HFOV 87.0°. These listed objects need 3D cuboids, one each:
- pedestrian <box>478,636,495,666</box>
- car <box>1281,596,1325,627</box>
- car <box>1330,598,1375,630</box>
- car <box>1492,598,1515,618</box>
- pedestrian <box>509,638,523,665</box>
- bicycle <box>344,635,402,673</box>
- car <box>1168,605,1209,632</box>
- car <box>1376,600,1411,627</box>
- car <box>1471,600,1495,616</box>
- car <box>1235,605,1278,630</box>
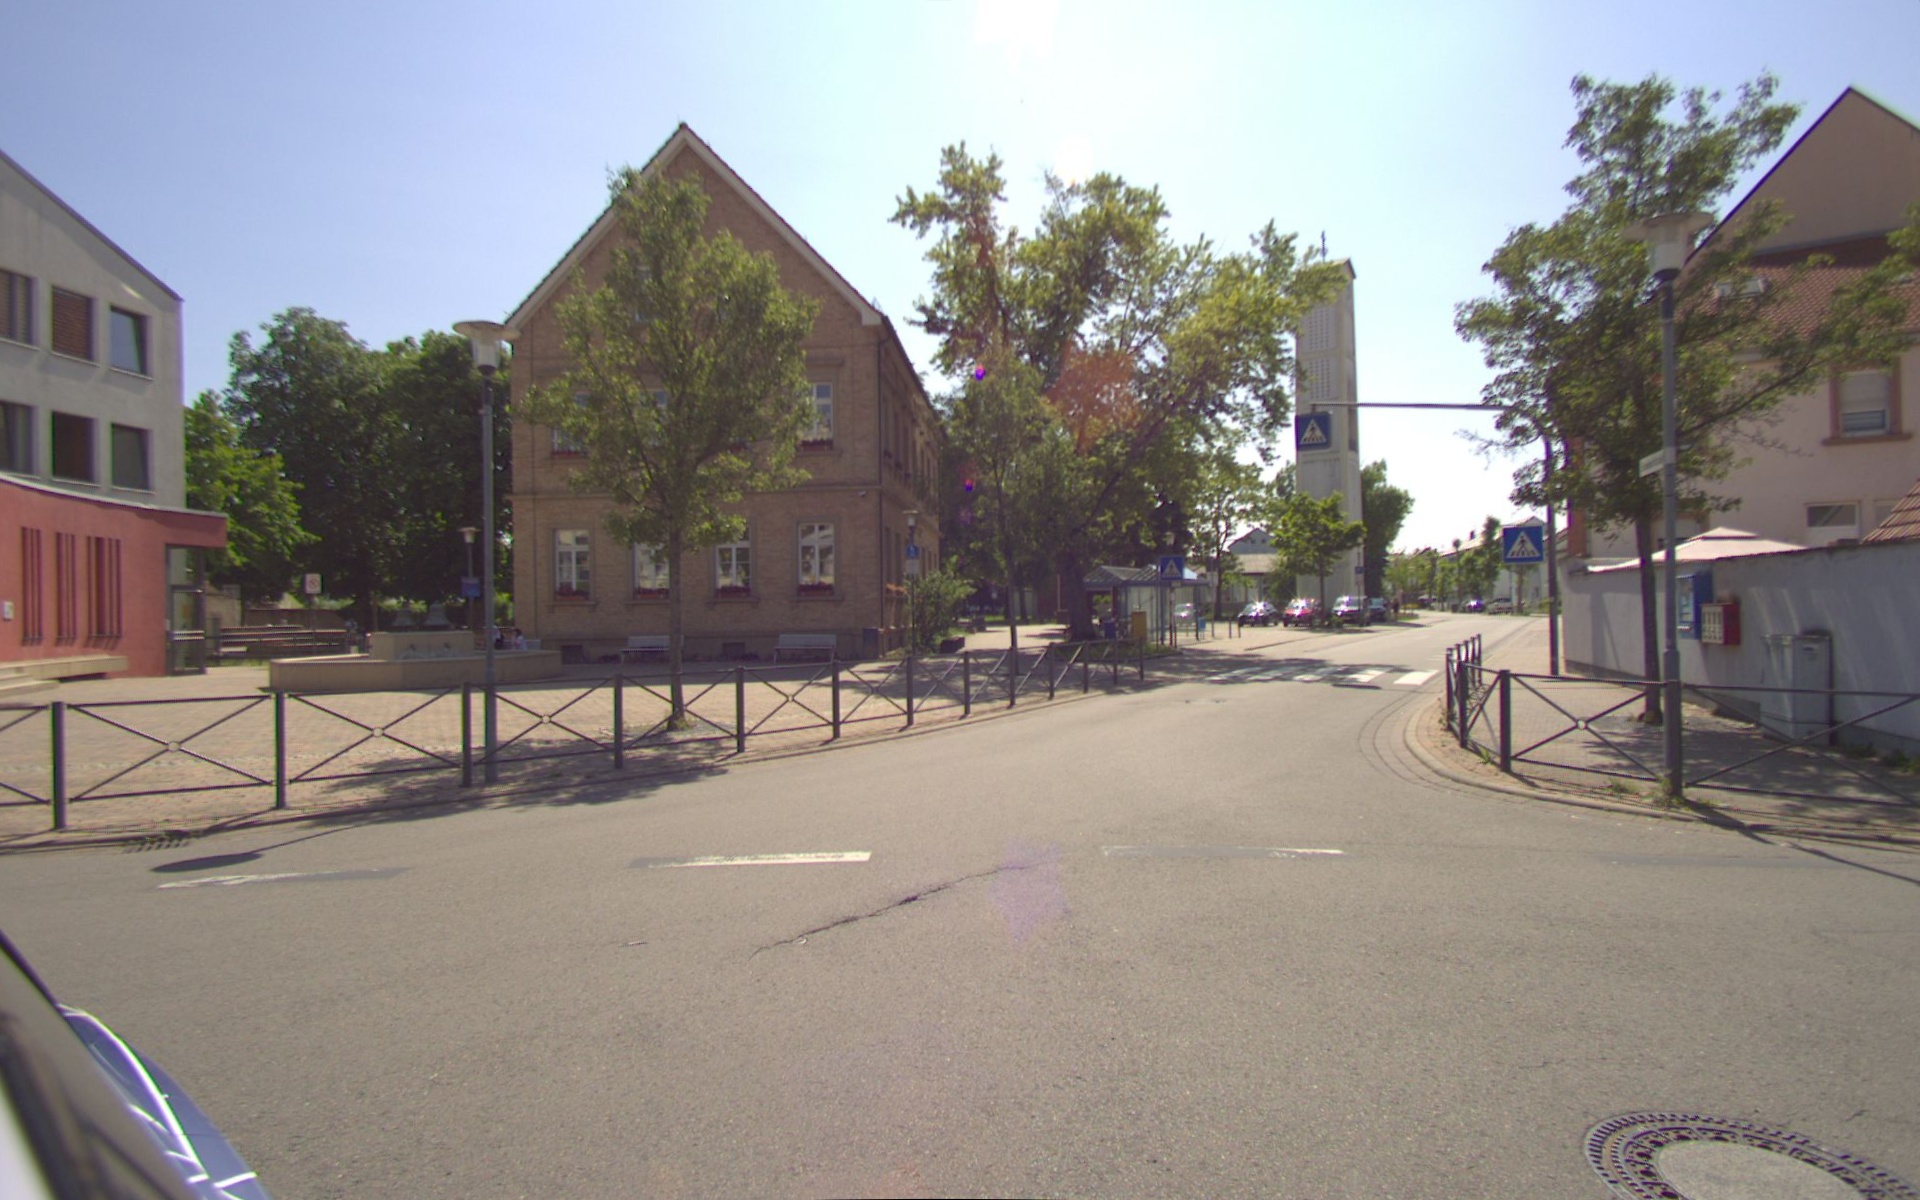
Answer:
[{"bbox_3d":[-13.241,1.431,28.291,0.361,0.824,0.362,-1,-2,-12],"label":"pedestrian"},{"bbox_3d":[20.885,0.698,61.552,1.775,1.807,3.958,-2,-2,30],"label":"car"},{"bbox_3d":[23.246,0.803,59.896,1.776,1.807,3.957,-1,-1,32],"label":"car"},{"bbox_3d":[52.547,0.782,97.784,1.775,1.794,3.958,-2,-2,30],"label":"car"},{"bbox_3d":[-12.424,1.431,28.298,0.284,0.738,0.358,-1,-2,-12],"label":"pedestrian"},{"bbox_3d":[-18.001,1.636,31.072,0.573,1.013,1.952,-1,1,3],"label":"bicycle"},{"bbox_3d":[14.614,1.157,64.503,1.986,1.629,3.971,-1,-1,21],"label":"car"},{"bbox_3d":[27.516,0.878,64.172,1.772,1.658,3.964,-2,-2,26],"label":"car"},{"bbox_3d":[57.161,0.915,110.640,1.769,1.705,3.972,-2,-2,20],"label":"car"},{"bbox_3d":[18.323,1.058,62.424,1.644,1.479,3.740,-2,-2,30],"label":"car"}]
